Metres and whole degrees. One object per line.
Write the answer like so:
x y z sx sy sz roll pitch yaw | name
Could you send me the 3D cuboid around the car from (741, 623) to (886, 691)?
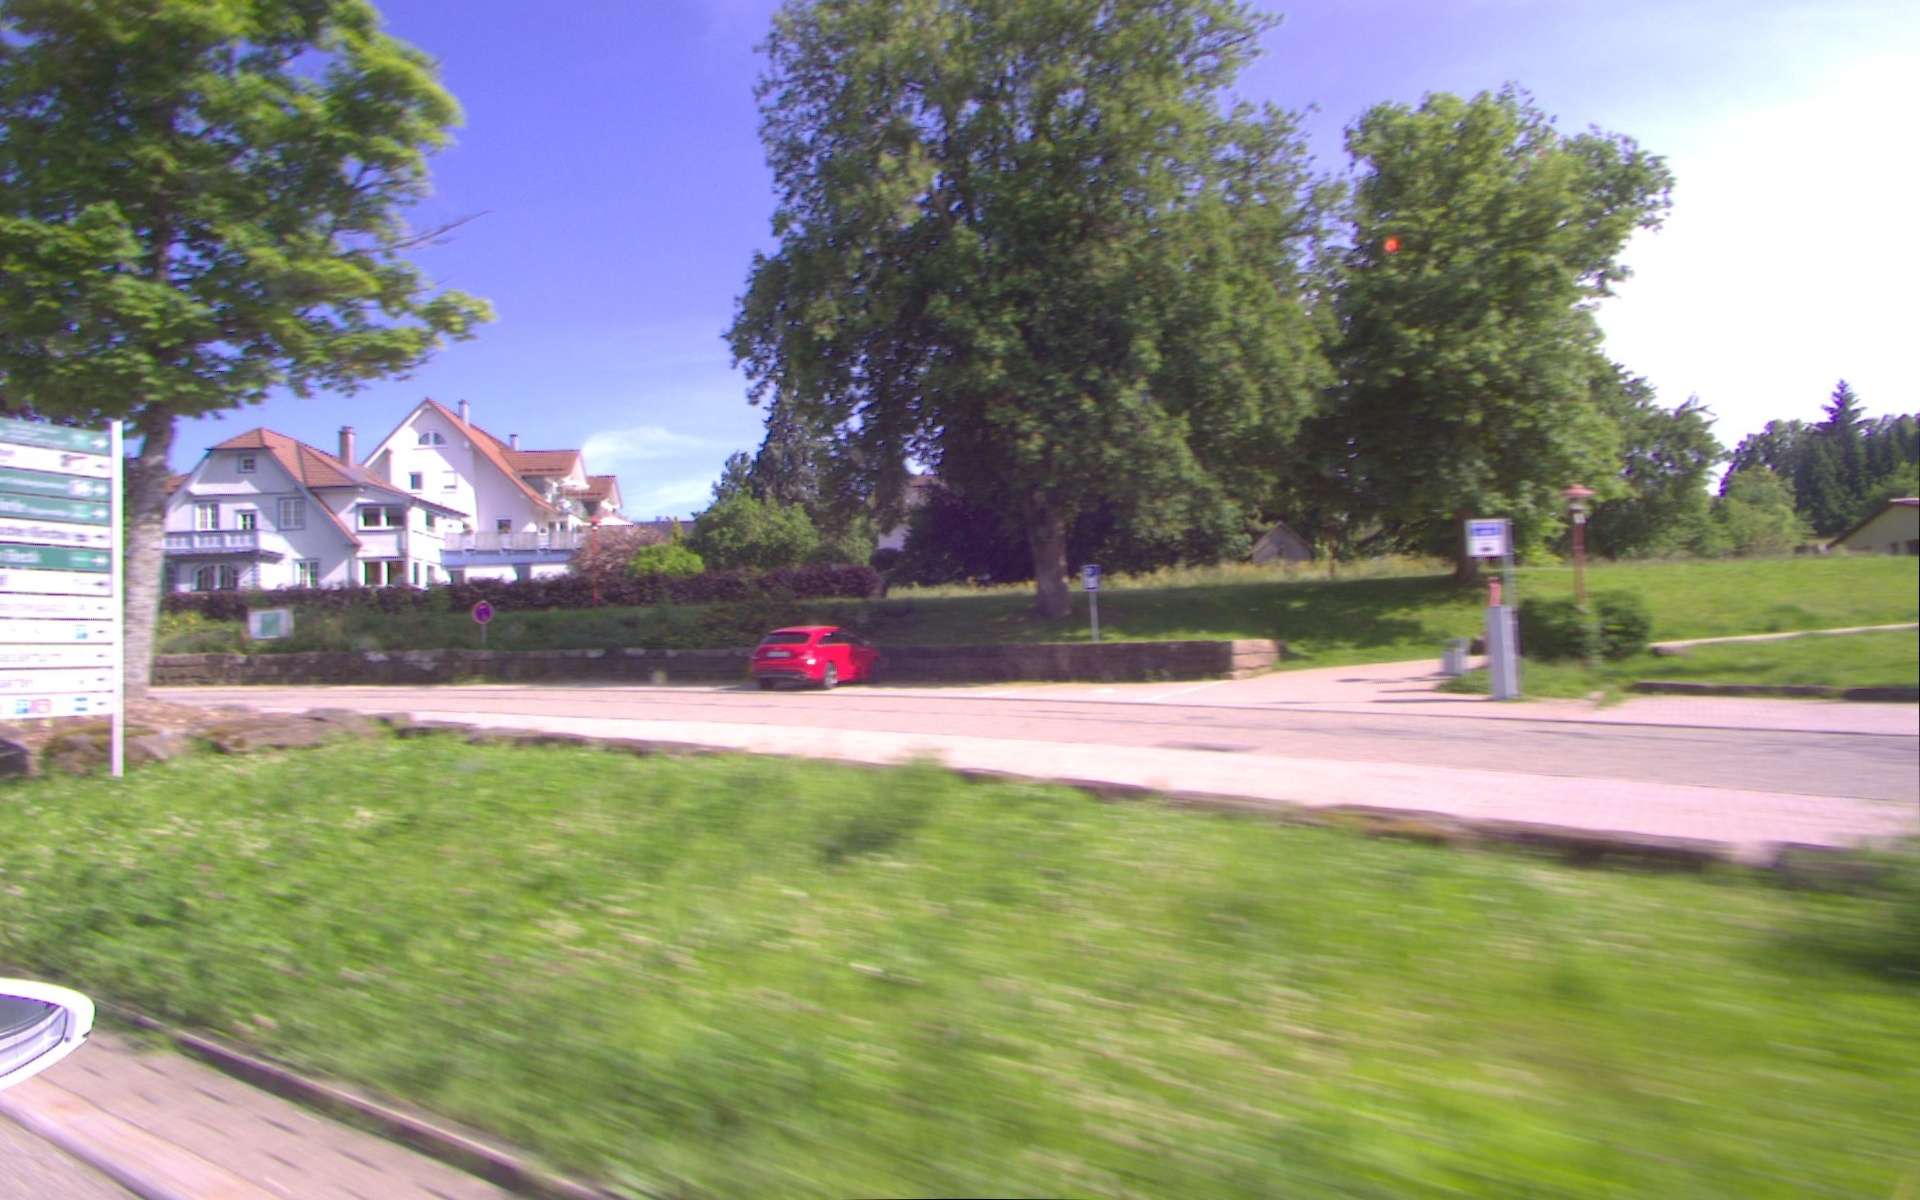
-3.362 1.294 23.838 1.672 1.447 4.260 -2 -1 18 | car
